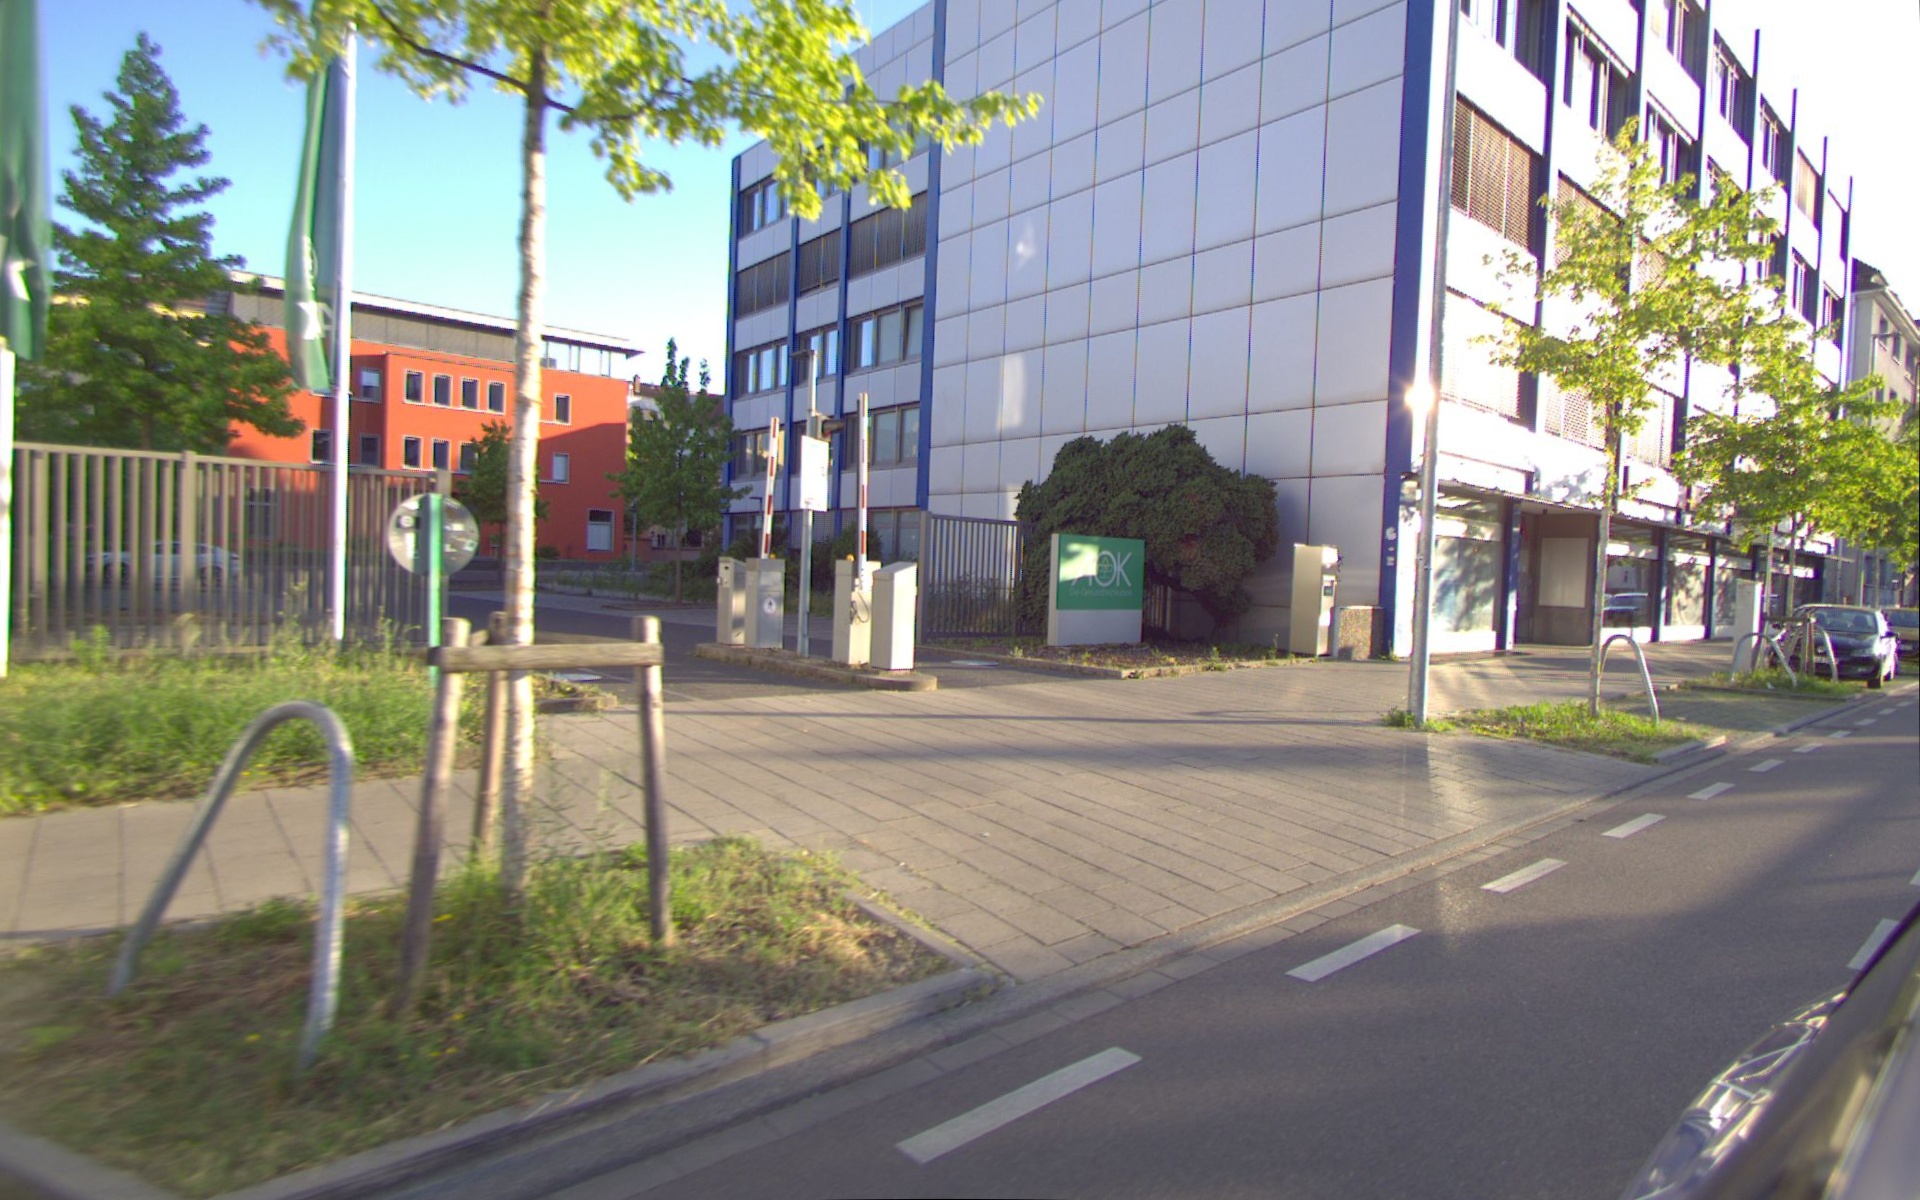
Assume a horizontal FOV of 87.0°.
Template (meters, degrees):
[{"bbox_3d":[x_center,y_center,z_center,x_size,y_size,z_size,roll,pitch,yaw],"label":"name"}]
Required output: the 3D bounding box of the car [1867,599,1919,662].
[{"bbox_3d":[24.697,0.760,25.908,4.058,1.472,1.687,0,3,-42],"label":"car"}]

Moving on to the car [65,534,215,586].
[{"bbox_3d":[-29.199,-1.399,36.139,4.055,1.684,1.824,0,3,-40],"label":"car"}]

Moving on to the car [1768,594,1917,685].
[{"bbox_3d":[17.075,0.669,19.514,4.061,1.472,1.821,0,3,-45],"label":"car"}]
